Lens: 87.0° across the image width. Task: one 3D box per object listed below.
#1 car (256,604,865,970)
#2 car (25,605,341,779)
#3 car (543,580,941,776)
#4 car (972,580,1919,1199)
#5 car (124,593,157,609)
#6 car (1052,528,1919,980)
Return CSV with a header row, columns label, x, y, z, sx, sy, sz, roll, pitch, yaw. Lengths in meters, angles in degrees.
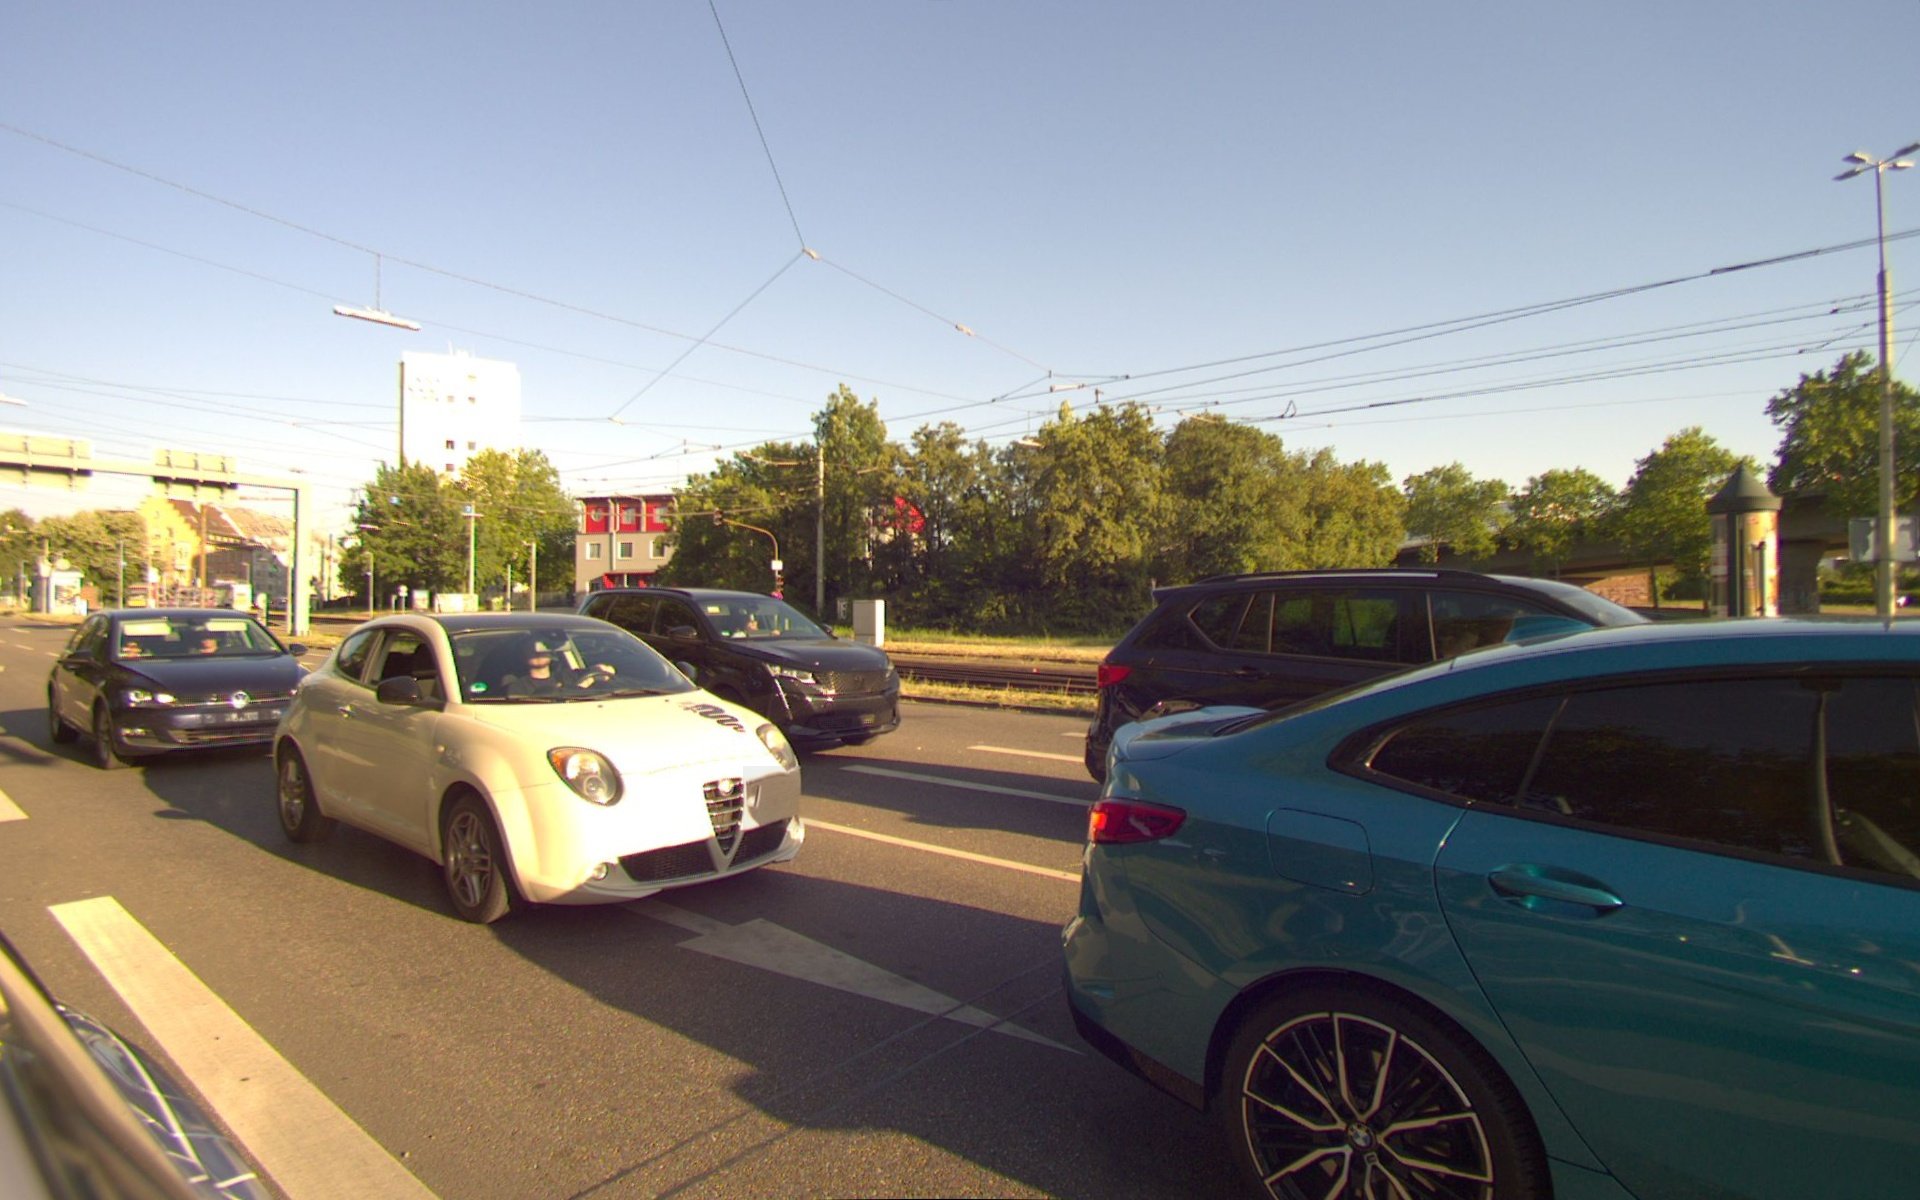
label,x,y,z,sx,sy,sz,roll,pitch,yaw
car,-2.512,0.753,5.896,3.921,1.441,1.644,0,-1,40
car,-8.039,0.780,10.352,3.921,1.441,1.759,0,-1,40
car,-2.501,0.680,10.844,4.602,1.661,1.894,0,-1,43
car,2.332,0.687,1.957,4.507,1.428,1.767,0,-1,39
car,-107.334,0.124,132.589,1.966,2.029,4.012,0,0,-17
car,2.936,0.593,5.595,4.598,1.694,1.896,0,-1,40
